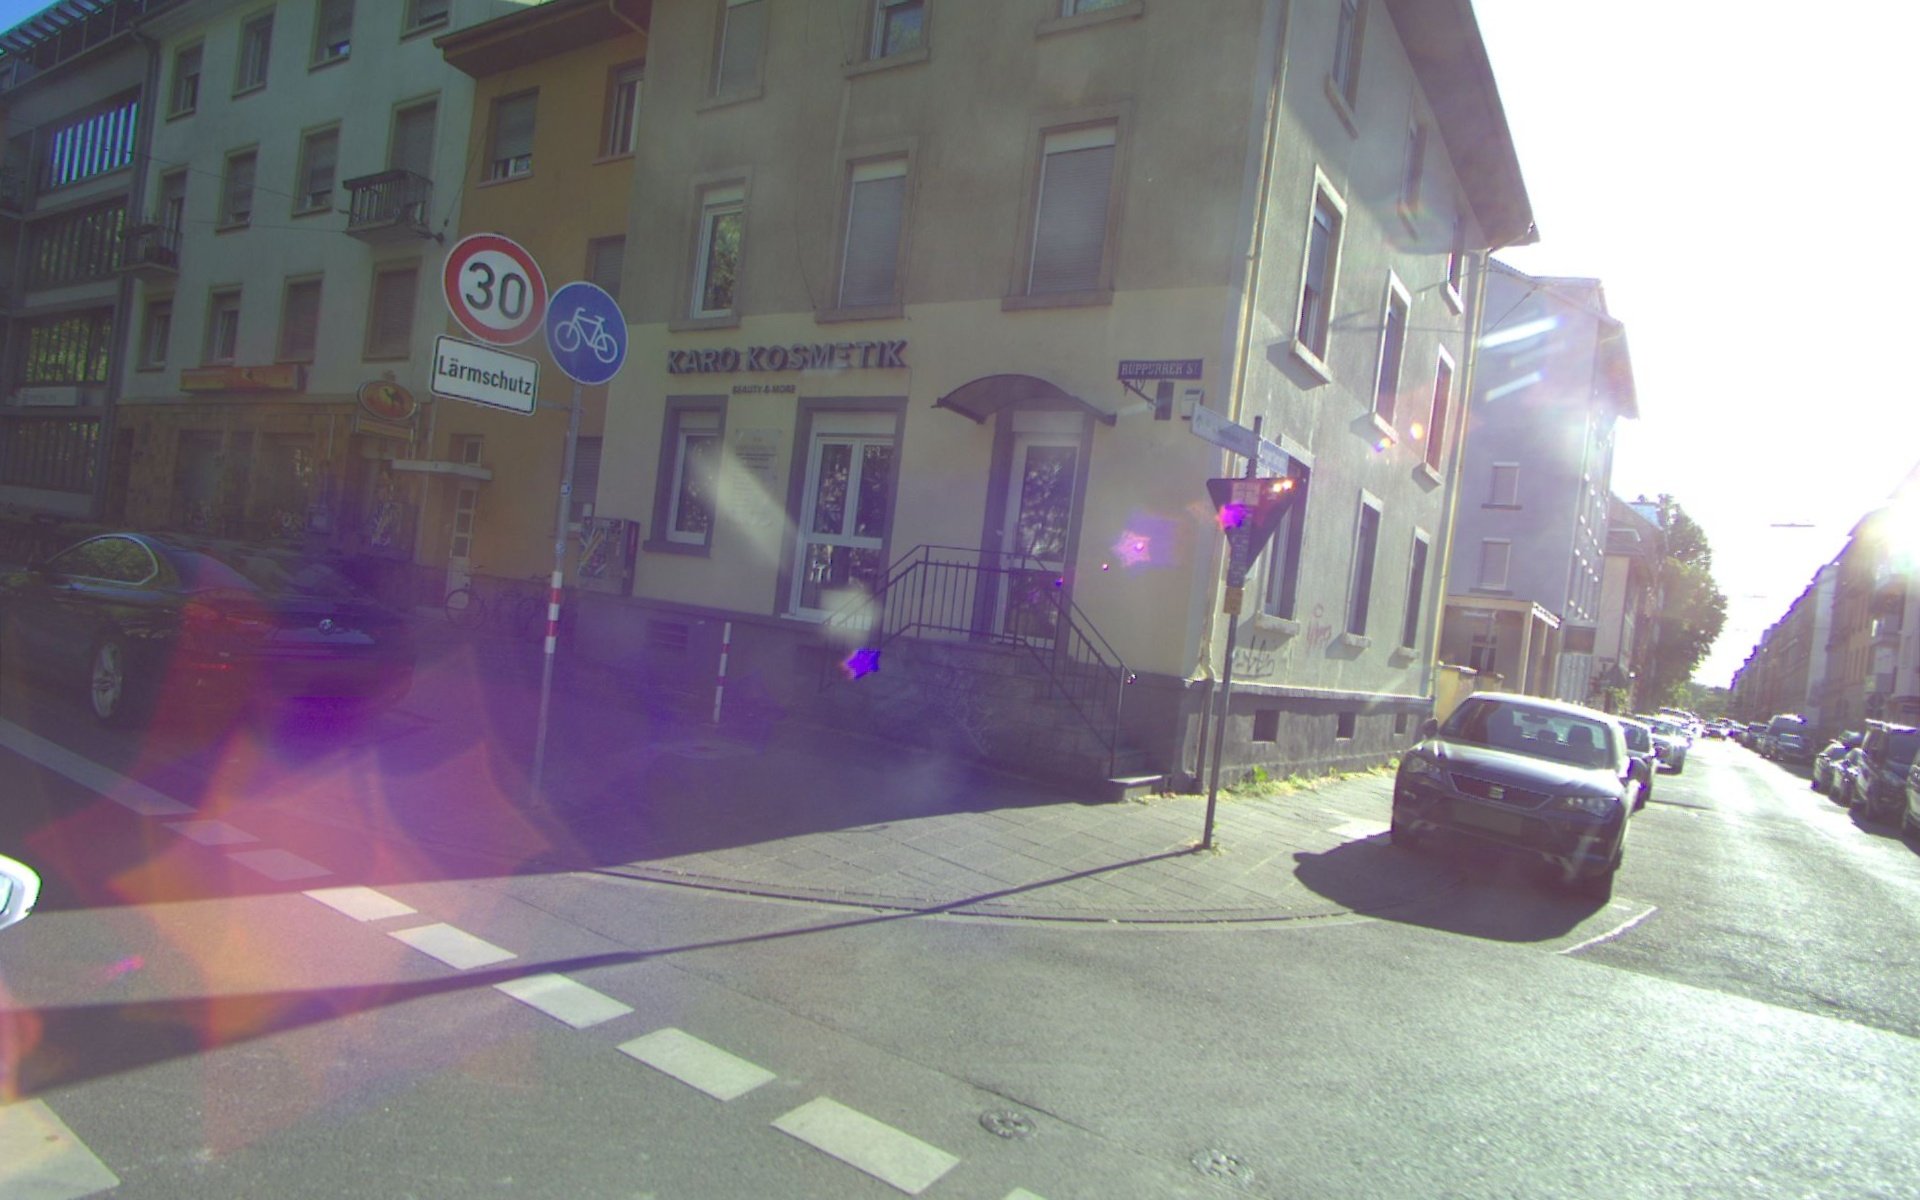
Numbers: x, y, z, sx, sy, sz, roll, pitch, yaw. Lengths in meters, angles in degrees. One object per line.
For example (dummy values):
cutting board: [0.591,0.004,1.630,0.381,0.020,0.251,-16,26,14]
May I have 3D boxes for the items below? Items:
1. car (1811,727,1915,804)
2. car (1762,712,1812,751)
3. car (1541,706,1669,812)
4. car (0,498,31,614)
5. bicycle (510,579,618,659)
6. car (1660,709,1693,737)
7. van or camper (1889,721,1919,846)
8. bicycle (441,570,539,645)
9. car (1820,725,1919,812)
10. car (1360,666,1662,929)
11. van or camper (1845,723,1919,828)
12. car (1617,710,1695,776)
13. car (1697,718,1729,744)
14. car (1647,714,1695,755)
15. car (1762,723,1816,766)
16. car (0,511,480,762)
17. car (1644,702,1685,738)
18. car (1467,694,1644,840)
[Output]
car: [27.370,4.960,30.606,1.734,1.879,3.642,8,-1,36]
car: [47.310,7.518,57.616,1.734,1.879,3.642,8,-1,36]
car: [12.449,2.955,19.299,1.679,1.493,4.188,10,0,36]
car: [-15.002,-0.834,13.919,4.662,1.513,1.994,7,1,32]
bicycle: [-6.062,0.277,15.353,1.827,1.009,0.427,7,-1,32]
car: [60.966,10.467,85.616,1.933,1.950,4.188,10,0,36]
van or camper: [17.126,3.192,16.573,1.900,2.088,4.585,8,-1,36]
bicycle: [-7.652,0.111,16.346,1.827,1.009,0.427,7,-1,32]
car: [24.200,4.393,26.582,1.734,1.879,3.642,8,-1,36]
car: [5.572,1.723,9.831,1.873,1.659,4.451,10,0,36]
van or camper: [20.804,3.806,21.684,1.900,2.006,4.585,8,-1,36]
car: [21.744,4.414,31.432,1.679,1.592,4.188,10,0,36]
car: [67.236,11.694,89.914,1.933,1.950,4.188,10,0,36]
car: [37.455,7.062,53.013,1.765,1.775,4.188,10,0,36]
car: [43.408,7.533,52.726,1.734,1.879,3.642,8,-1,36]
car: [-6.400,0.157,8.470,4.661,1.398,1.995,7,1,32]
car: [46.616,7.952,66.592,1.933,1.950,4.188,10,0,36]
car: [8.974,2.361,14.948,1.679,1.514,4.810,10,0,36]
